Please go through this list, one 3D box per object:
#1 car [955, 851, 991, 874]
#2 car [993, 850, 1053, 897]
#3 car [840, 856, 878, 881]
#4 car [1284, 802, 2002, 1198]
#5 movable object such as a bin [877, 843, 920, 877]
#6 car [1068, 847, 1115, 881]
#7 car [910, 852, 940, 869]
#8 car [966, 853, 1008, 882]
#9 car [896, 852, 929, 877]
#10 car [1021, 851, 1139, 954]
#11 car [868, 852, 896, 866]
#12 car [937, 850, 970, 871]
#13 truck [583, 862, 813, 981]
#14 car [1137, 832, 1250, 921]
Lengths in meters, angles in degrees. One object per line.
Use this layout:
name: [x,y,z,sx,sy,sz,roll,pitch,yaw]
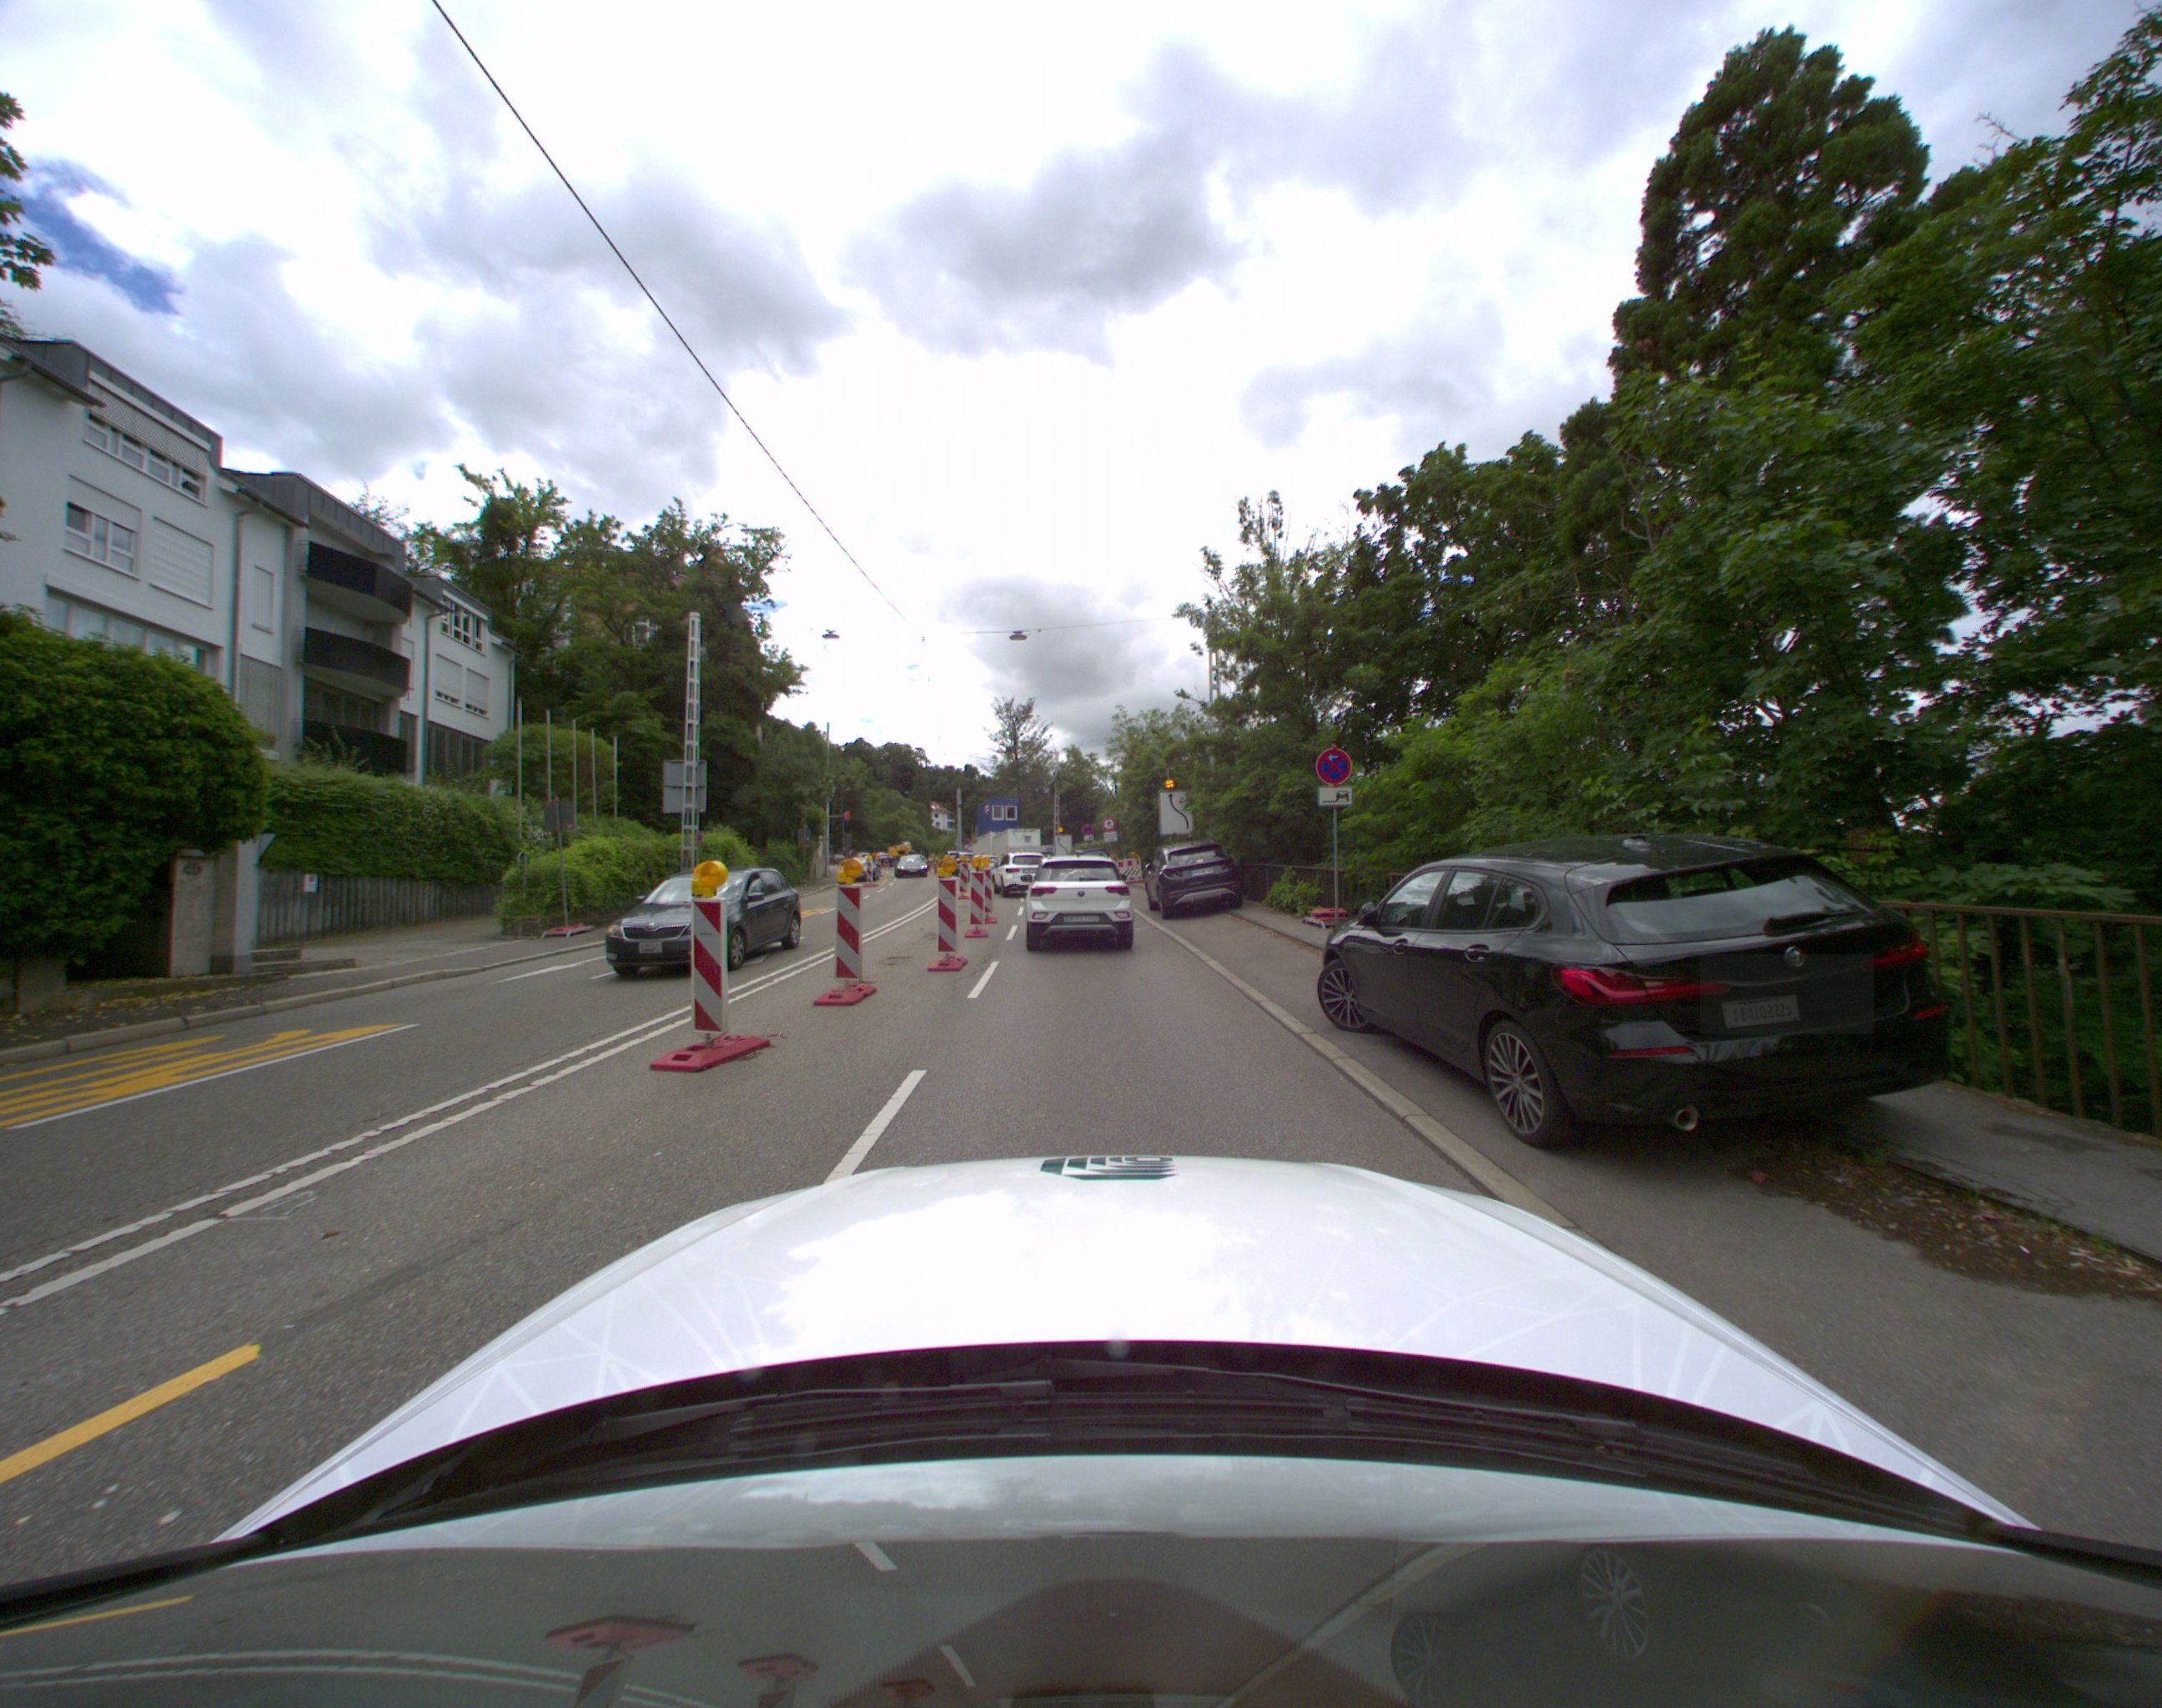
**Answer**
car: [-7.380,0.597,55.278,1.996,1.414,4.132,-3,-1,-13]
car: [-2.245,0.685,30.729,1.759,1.609,3.780,-1,0,-11]
car: [-13.387,0.854,49.238,1.897,1.382,3.984,-2,0,-12]
car: [2.936,0.605,5.561,1.803,1.463,4.191,-7,0,-2]
movable object such as a bin: [-21.427,0.722,95.287,3.547,3.699,7.437,-2,0,-22]
car: [0.507,0.500,41.951,1.715,1.518,3.648,-4,0,-9]
car: [-15.082,0.631,78.464,2.002,1.450,4.119,-2,-1,-23]
car: [-5.169,0.695,44.567,1.761,1.471,3.776,-1,0,-15]
car: [-11.127,0.687,53.656,1.898,1.494,3.981,-2,0,-14]
car: [-0.150,0.740,14.491,1.755,1.555,3.788,-1,0,-5]
car: [-21.697,0.556,88.715,2.005,1.450,4.113,-2,-1,-27]
car: [-10.229,0.477,65.129,1.999,1.556,4.126,-2,1,-17]
truck: [-5.701,0.908,12.729,1.657,1.443,4.025,-2,0,-1]
car: [2.594,0.491,19.811,1.845,1.657,4.139,-9,0,-2]
